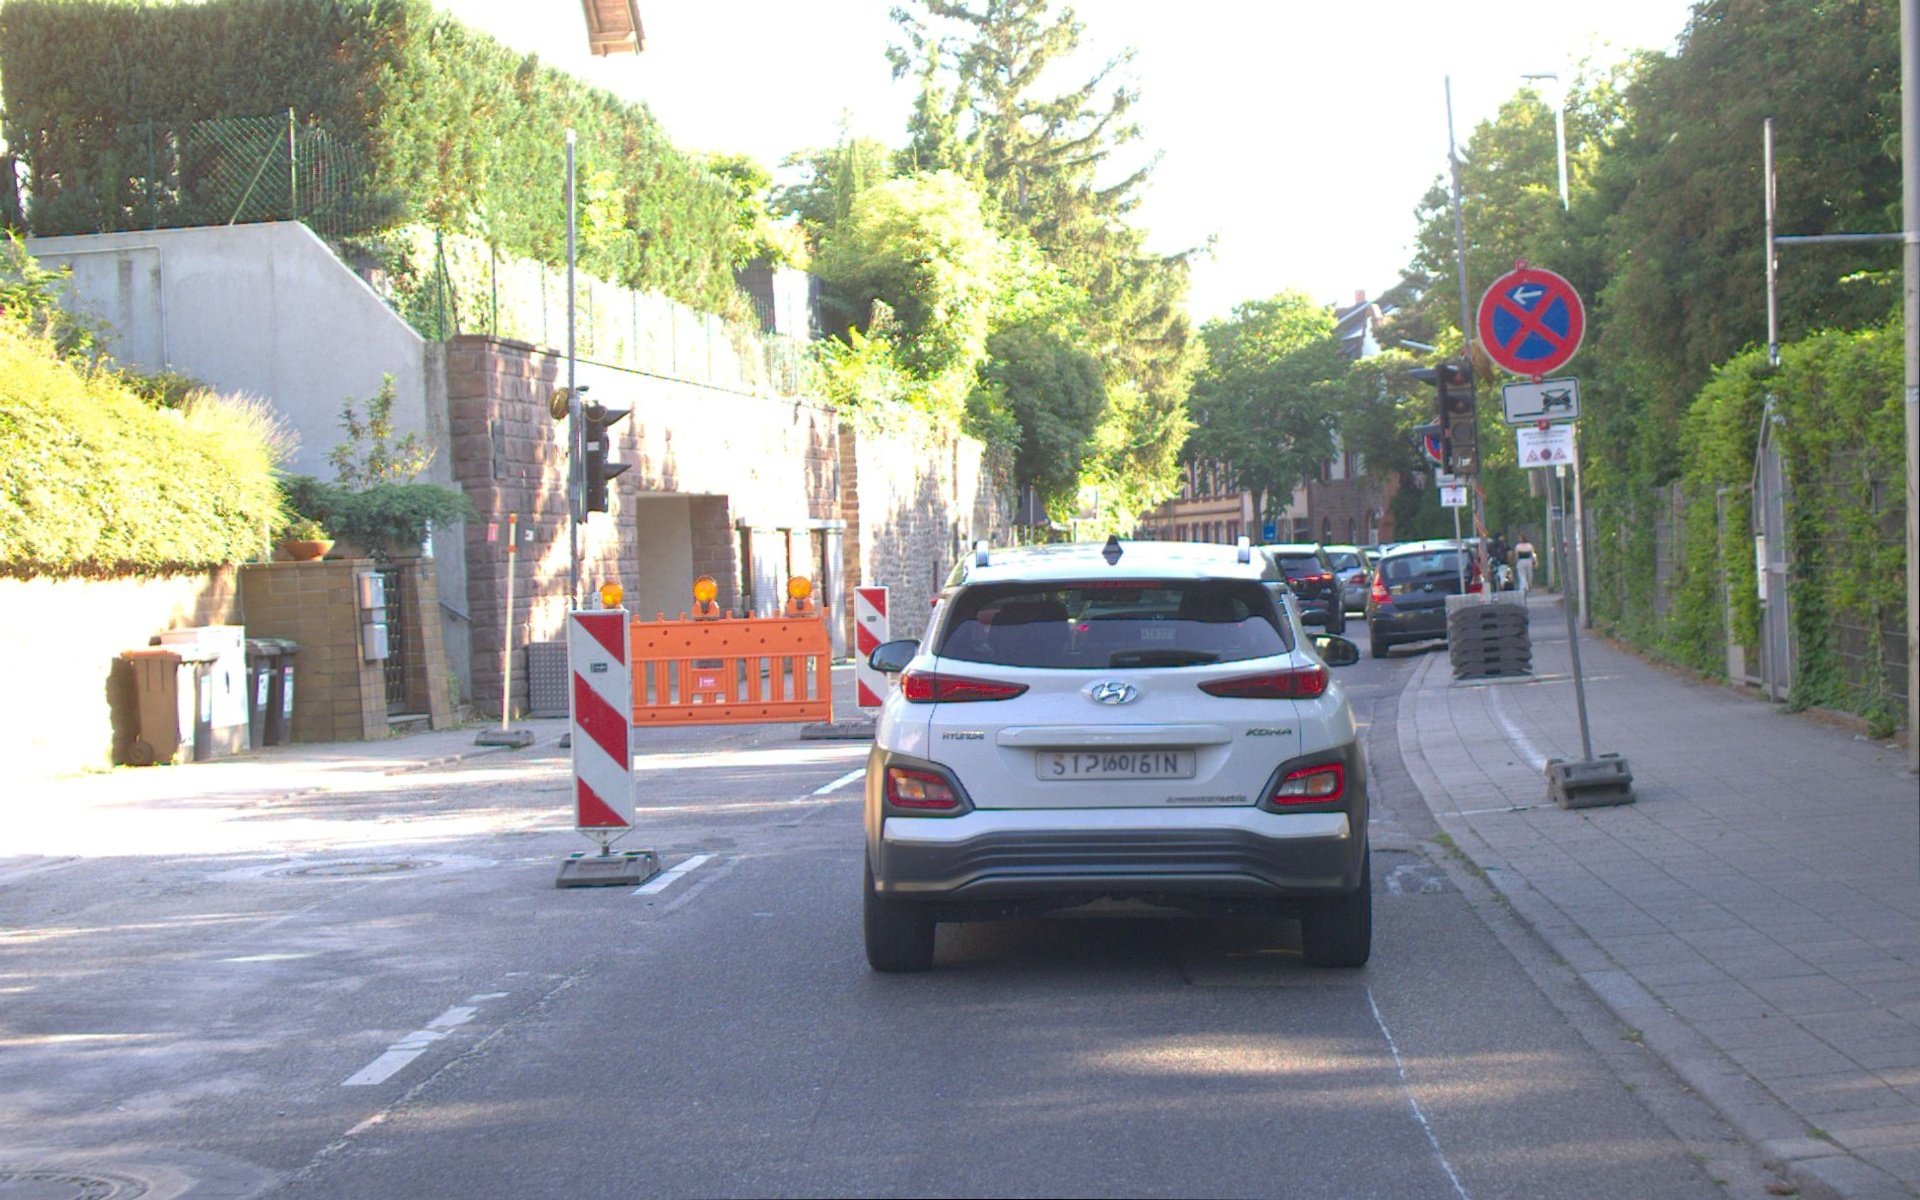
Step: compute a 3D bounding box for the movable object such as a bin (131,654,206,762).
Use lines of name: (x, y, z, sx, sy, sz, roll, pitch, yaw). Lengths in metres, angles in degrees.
movable object such as a bin: (-6.295, 0.856, 27.347, 0.454, 0.831, 0.392, -2, 0, 7)

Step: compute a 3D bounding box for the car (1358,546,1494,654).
car: (6.552, -0.030, 48.172, 1.795, 1.436, 3.999, -1, 1, 8)

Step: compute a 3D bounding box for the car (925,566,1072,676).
car: (0.581, 0.272, 48.256, 1.627, 1.417, 3.562, -3, 0, 7)

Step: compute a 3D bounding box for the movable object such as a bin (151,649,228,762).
movable object such as a bin: (-6.230, 0.850, 27.813, 0.456, 0.881, 0.500, -1, 0, 7)

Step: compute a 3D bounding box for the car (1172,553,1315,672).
car: (3.735, 0.135, 44.918, 1.571, 1.472, 3.546, -1, 0, 9)

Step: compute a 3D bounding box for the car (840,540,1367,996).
car: (0.617, 0.551, 13.640, 1.772, 1.537, 4.000, 0, 1, 4)

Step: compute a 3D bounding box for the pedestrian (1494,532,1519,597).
pedestrian: (13.831, -0.900, 87.009, 0.503, 1.601, 0.491, -4, 0, 9)

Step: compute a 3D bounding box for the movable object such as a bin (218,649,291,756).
movable object such as a bin: (-6.023, 0.871, 29.346, 0.456, 0.881, 0.500, -1, 0, 7)

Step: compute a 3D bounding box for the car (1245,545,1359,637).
car: (5.958, -0.181, 59.643, 1.694, 1.528, 3.880, -1, 1, 10)

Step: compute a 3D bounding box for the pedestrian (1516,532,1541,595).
pedestrian: (14.412, -0.917, 87.171, 0.503, 1.564, 0.503, -4, 0, 9)

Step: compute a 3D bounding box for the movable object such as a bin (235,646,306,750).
movable object such as a bin: (-5.994, 0.848, 29.882, 0.456, 0.881, 0.500, -1, 0, 7)

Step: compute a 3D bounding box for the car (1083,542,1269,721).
car: (2.063, 0.257, 32.084, 1.512, 1.528, 3.547, -2, 1, 6)

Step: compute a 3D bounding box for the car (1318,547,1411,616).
car: (8.832, -0.428, 74.784, 1.694, 1.442, 3.880, -1, 1, 11)
